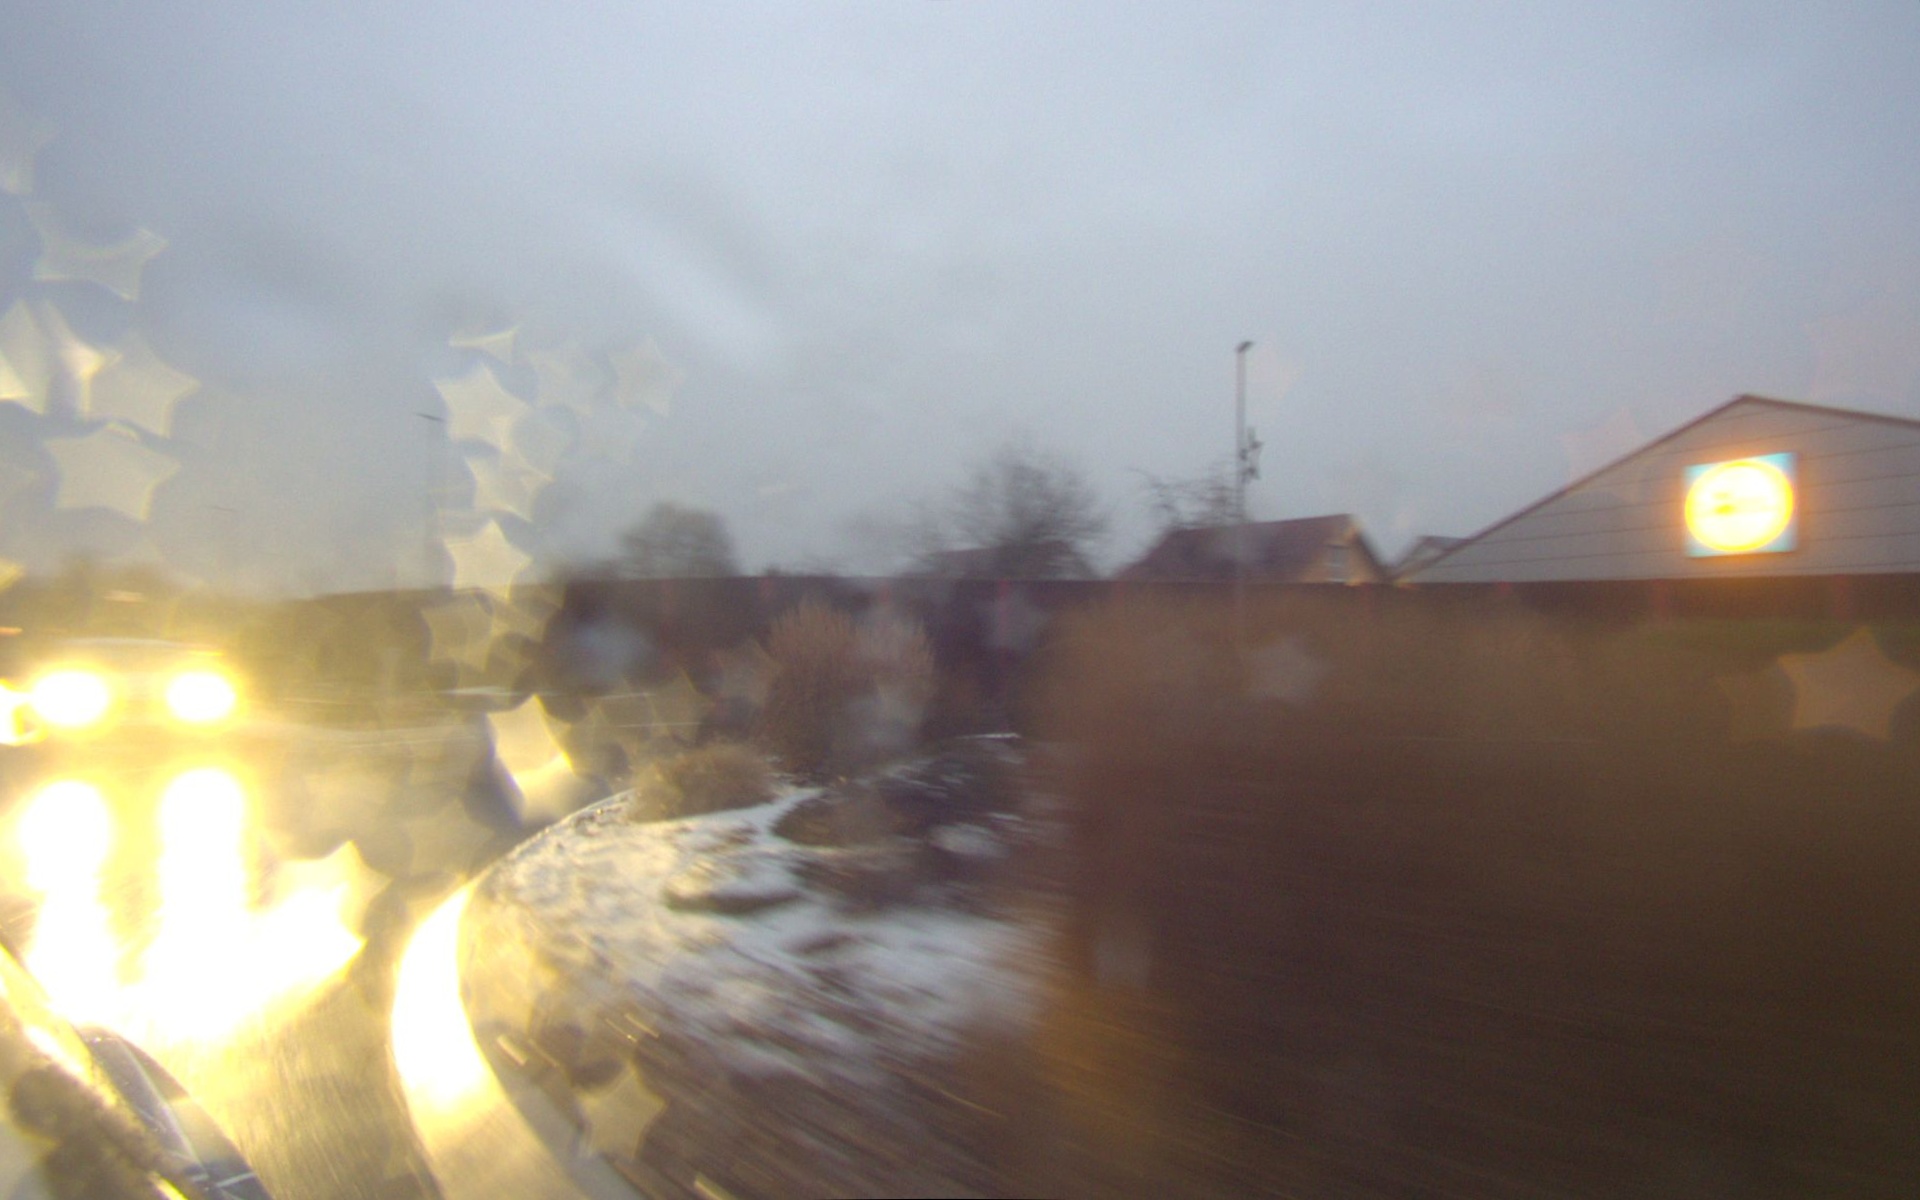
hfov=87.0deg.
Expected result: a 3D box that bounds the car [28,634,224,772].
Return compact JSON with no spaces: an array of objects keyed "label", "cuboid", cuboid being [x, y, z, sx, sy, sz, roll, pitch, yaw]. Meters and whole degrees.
[{"label":"car","cuboid":[-11.731,1.290,14.129,1.784,1.472,4.249,1,0,-44]}]
